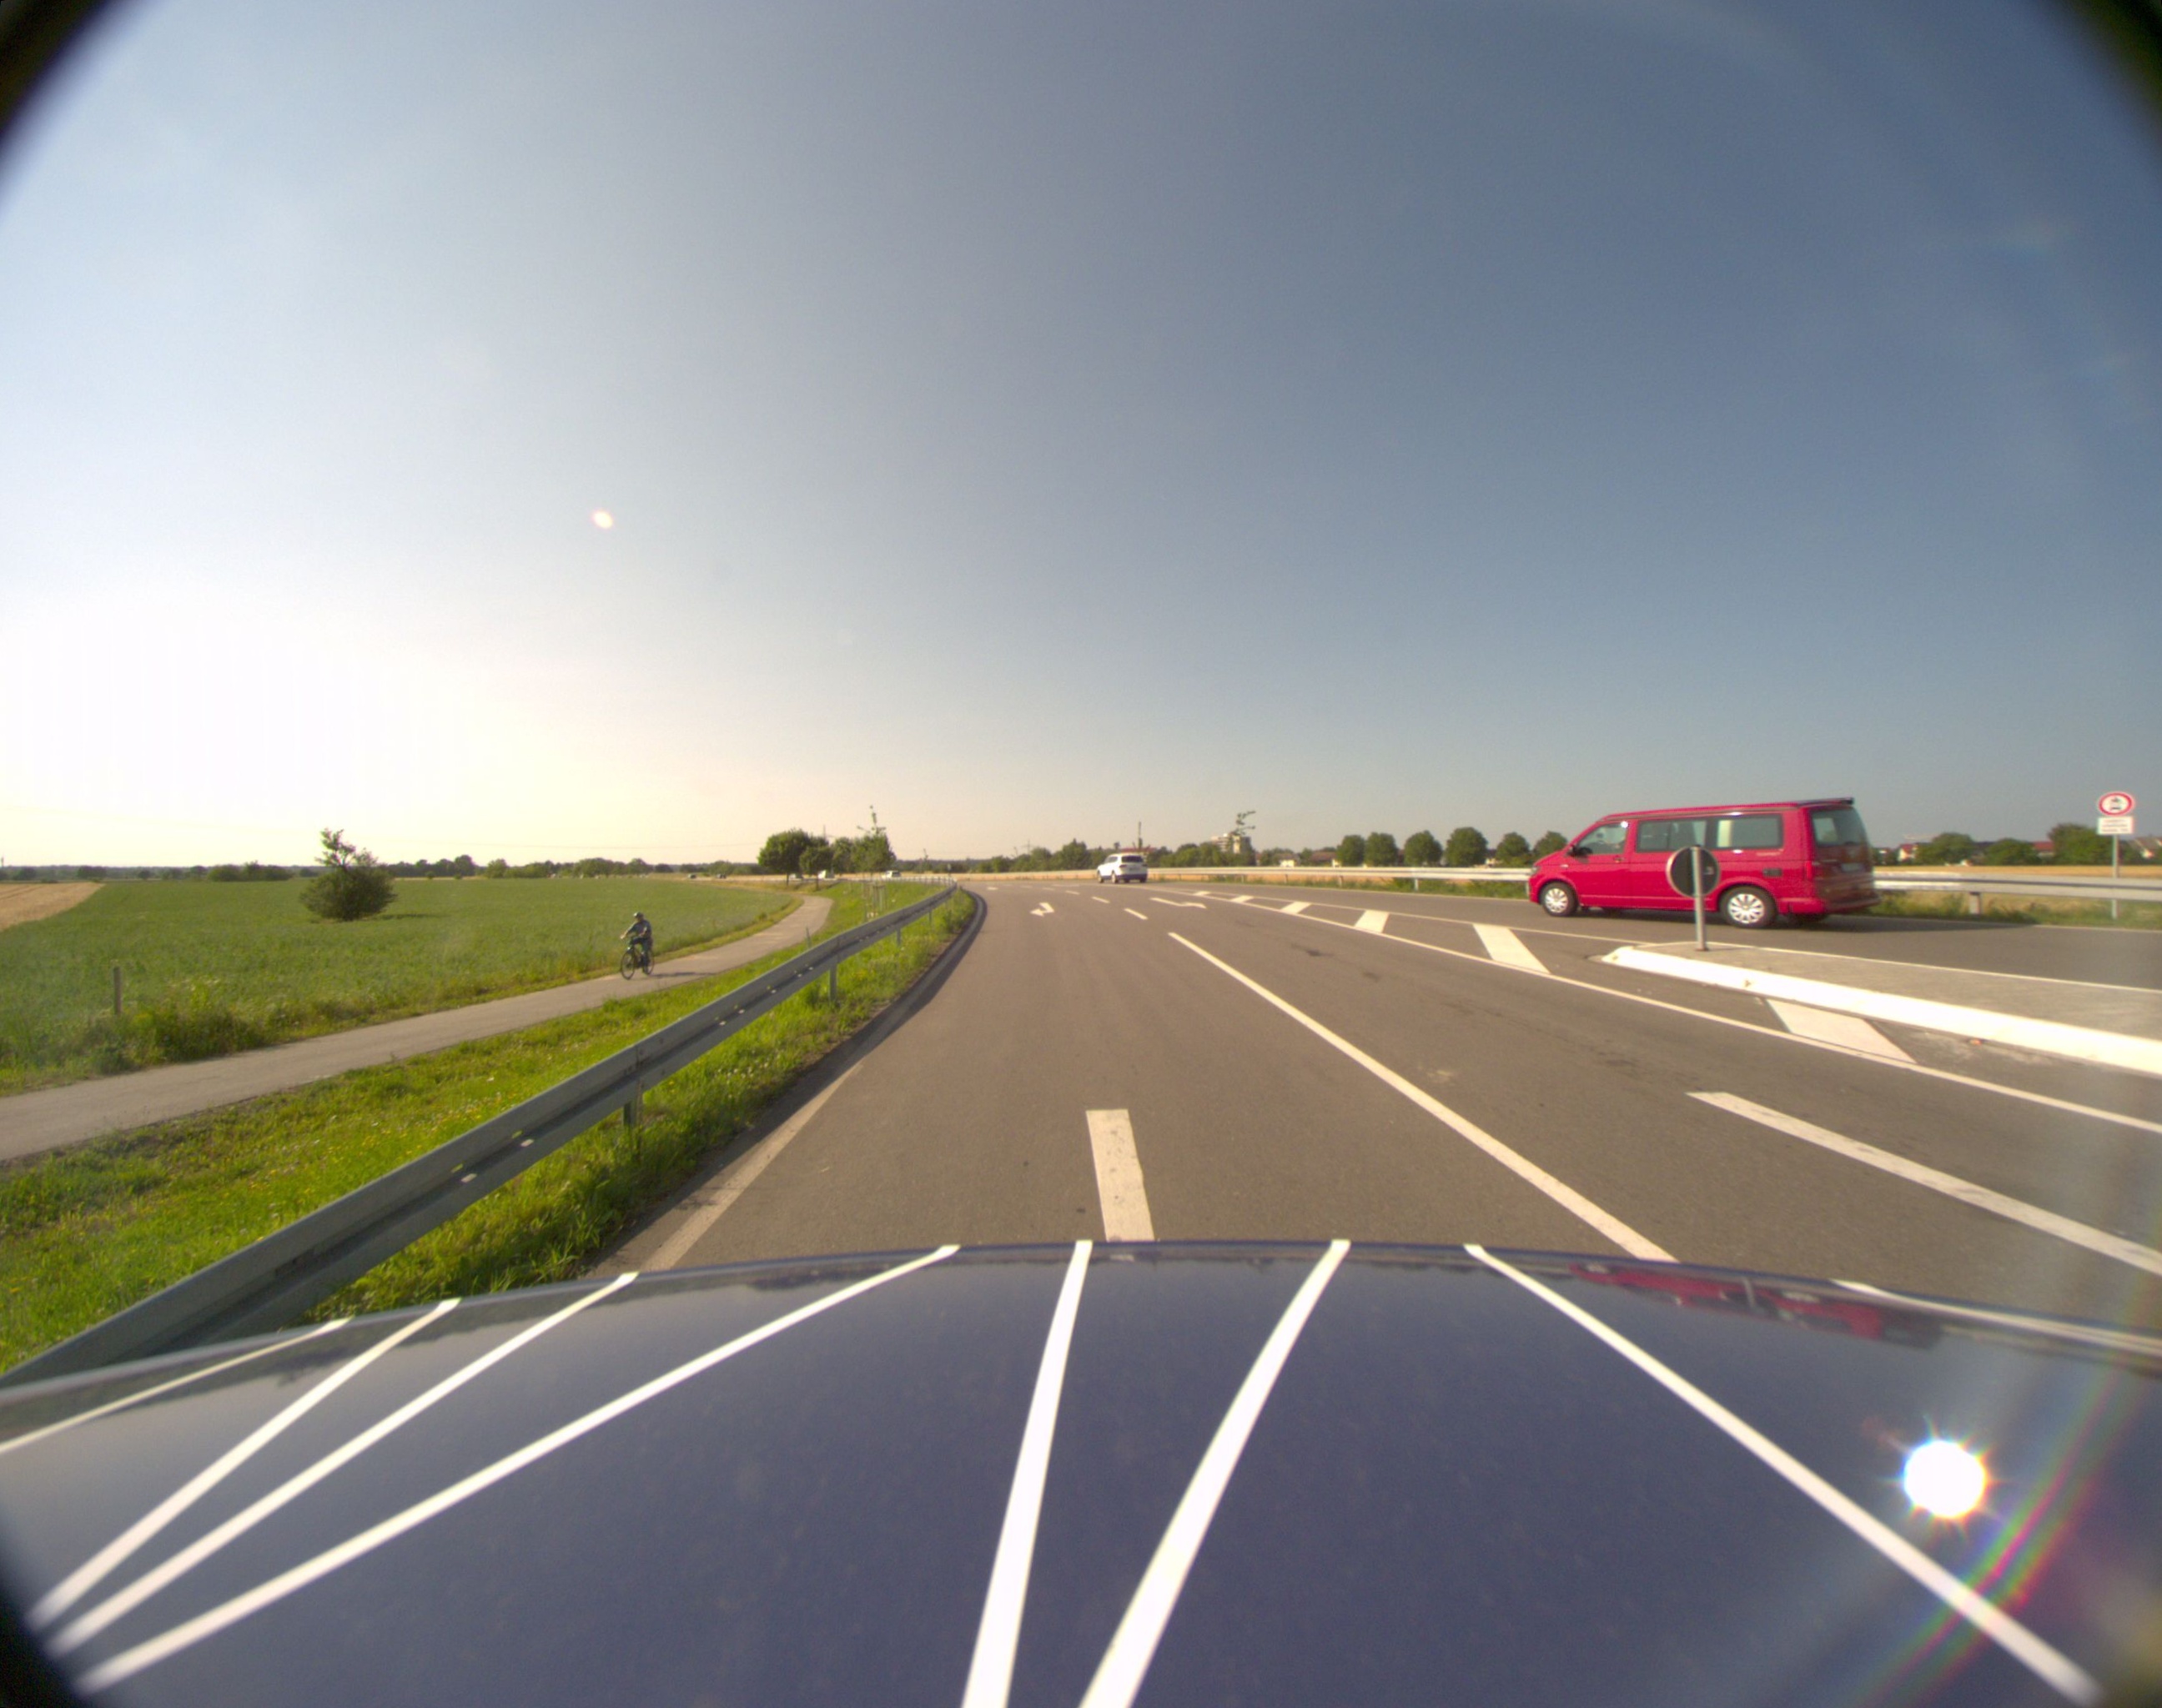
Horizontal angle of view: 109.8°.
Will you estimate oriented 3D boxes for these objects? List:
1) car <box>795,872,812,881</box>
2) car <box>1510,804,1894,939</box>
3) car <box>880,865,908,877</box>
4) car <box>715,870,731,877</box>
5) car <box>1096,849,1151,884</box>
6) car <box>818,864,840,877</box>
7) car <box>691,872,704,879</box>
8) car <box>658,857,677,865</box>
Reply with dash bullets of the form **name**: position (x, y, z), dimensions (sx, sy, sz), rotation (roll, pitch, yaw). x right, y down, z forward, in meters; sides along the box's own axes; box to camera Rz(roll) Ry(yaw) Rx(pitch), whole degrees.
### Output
- **car**: position (-53.815, 4.294, 147.231), dimensions (1.803, 1.439, 4.695), rotation (-2, -3, -36)
- **car**: position (10.522, 0.290, 13.439), dimensions (1.841, 1.928, 4.917), rotation (-1, -1, -25)
- **car**: position (-27.337, 2.485, 110.996), dimensions (2.125, 1.483, 5.142), rotation (-2, -3, -36)
- **car**: position (-86.597, 4.655, 183.711), dimensions (2.004, 1.583, 4.850), rotation (-2, 0, -42)
- **car**: position (2.313, 0.650, 43.008), dimensions (1.698, 1.664, 4.854), rotation (-2, 3, -15)
- **car**: position (-45.449, 2.931, 137.000), dimensions (2.126, 2.001, 5.142), rotation (-2, -3, -39)
- **car**: position (-102.812, 5.690, 203.482), dimensions (1.892, 1.788, 5.077), rotation (-3, 2, -39)
- **car**: position (-108.329, 1.922, 199.072), dimensions (2.822, 2.002, 6.085), rotation (-3, 1, -41)
